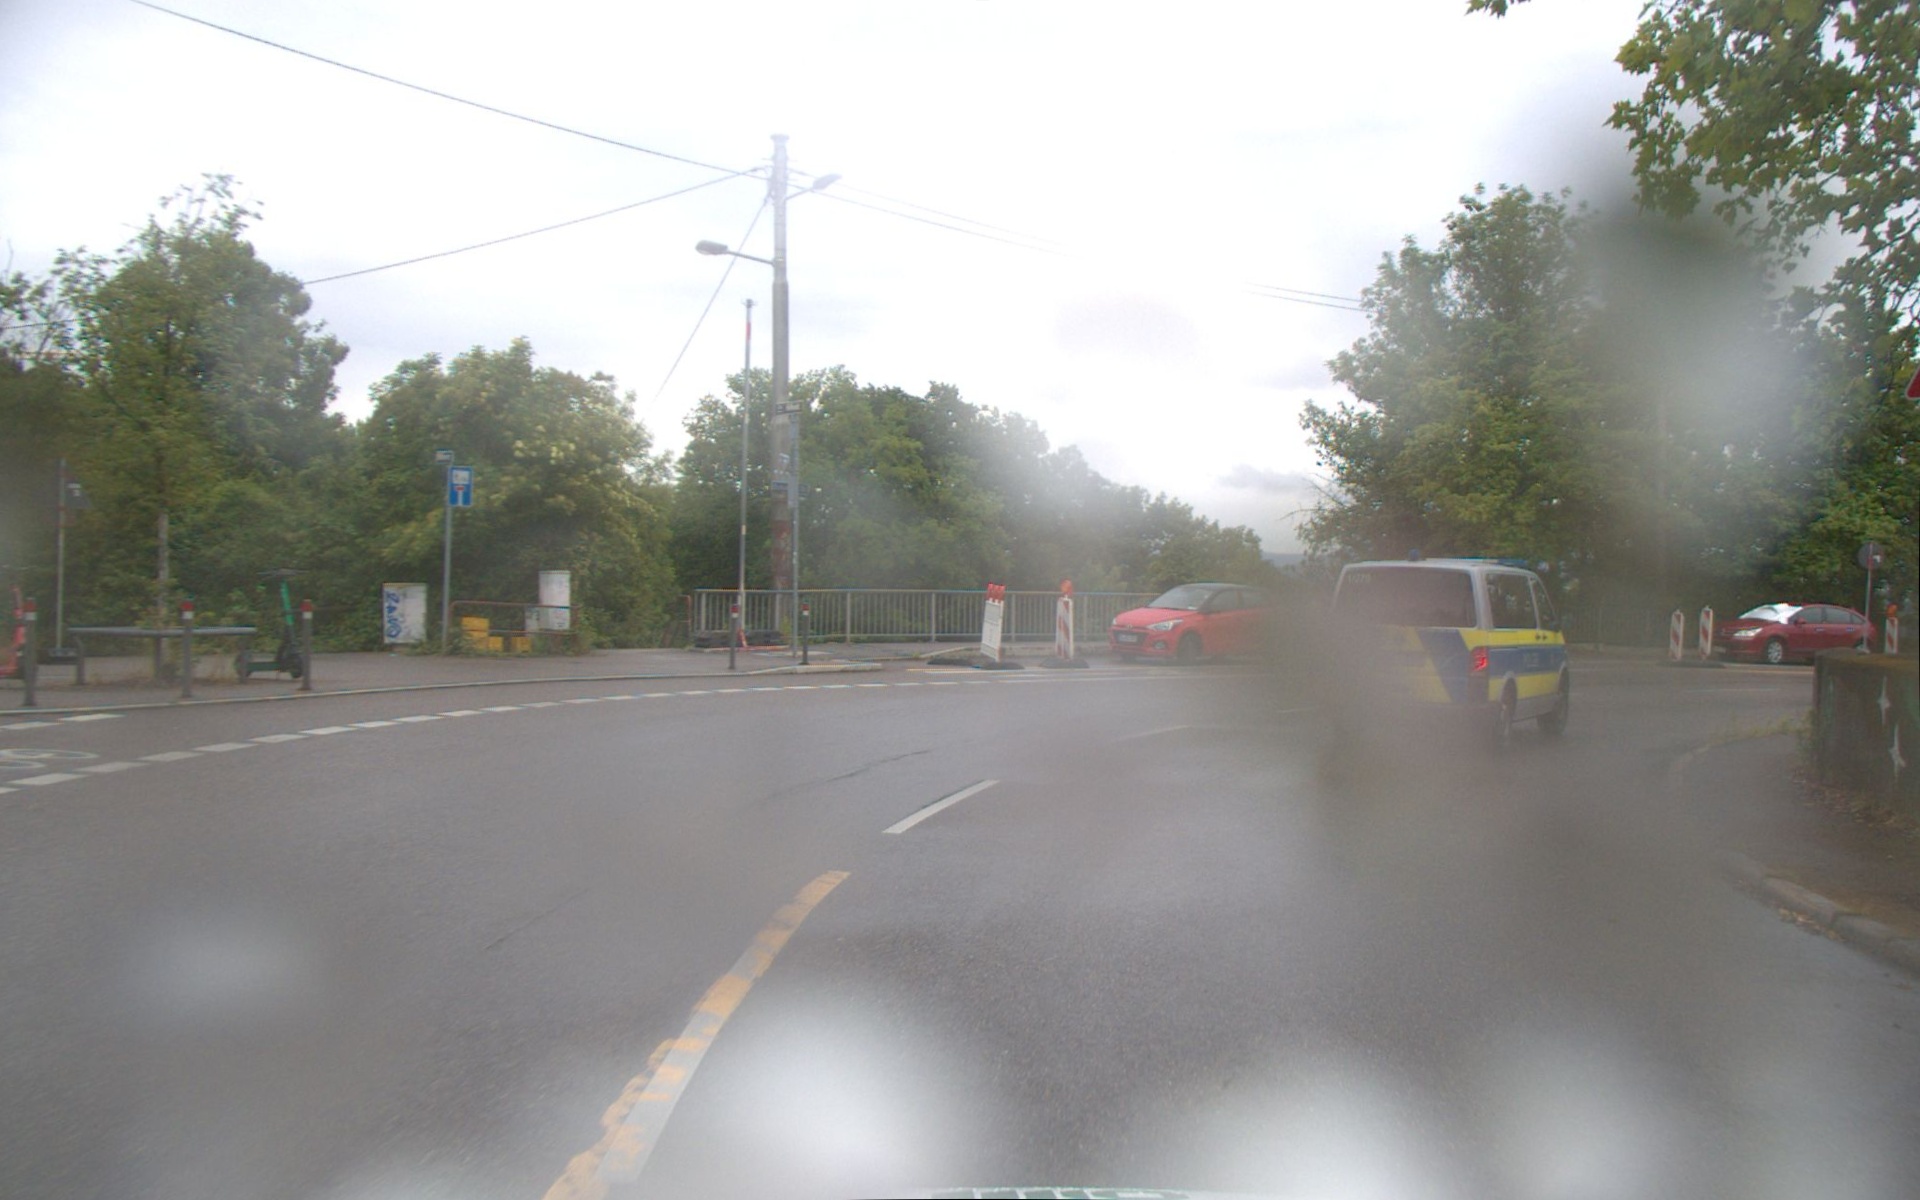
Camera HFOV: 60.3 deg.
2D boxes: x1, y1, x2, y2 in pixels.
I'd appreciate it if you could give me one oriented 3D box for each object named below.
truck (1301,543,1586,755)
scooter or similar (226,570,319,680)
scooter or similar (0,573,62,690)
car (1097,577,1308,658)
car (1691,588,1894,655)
[{"bbox_3d":[5.626,0.489,18.778,1.957,2.049,4.724,2,0,31],"label":"truck"},{"bbox_3d":[-8.003,0.285,19.255,1.012,1.239,0.244,2,0,13],"label":"scooter or similar"},{"bbox_3d":[-9.803,0.320,17.415,1.018,1.184,0.242,2,0,41],"label":"scooter or similar"},{"bbox_3d":[4.674,0.351,31.633,4.096,1.422,1.667,2,0,-39],"label":"car"},{"bbox_3d":[20.560,0.522,40.899,4.236,1.465,1.959,1,2,-15],"label":"car"}]
